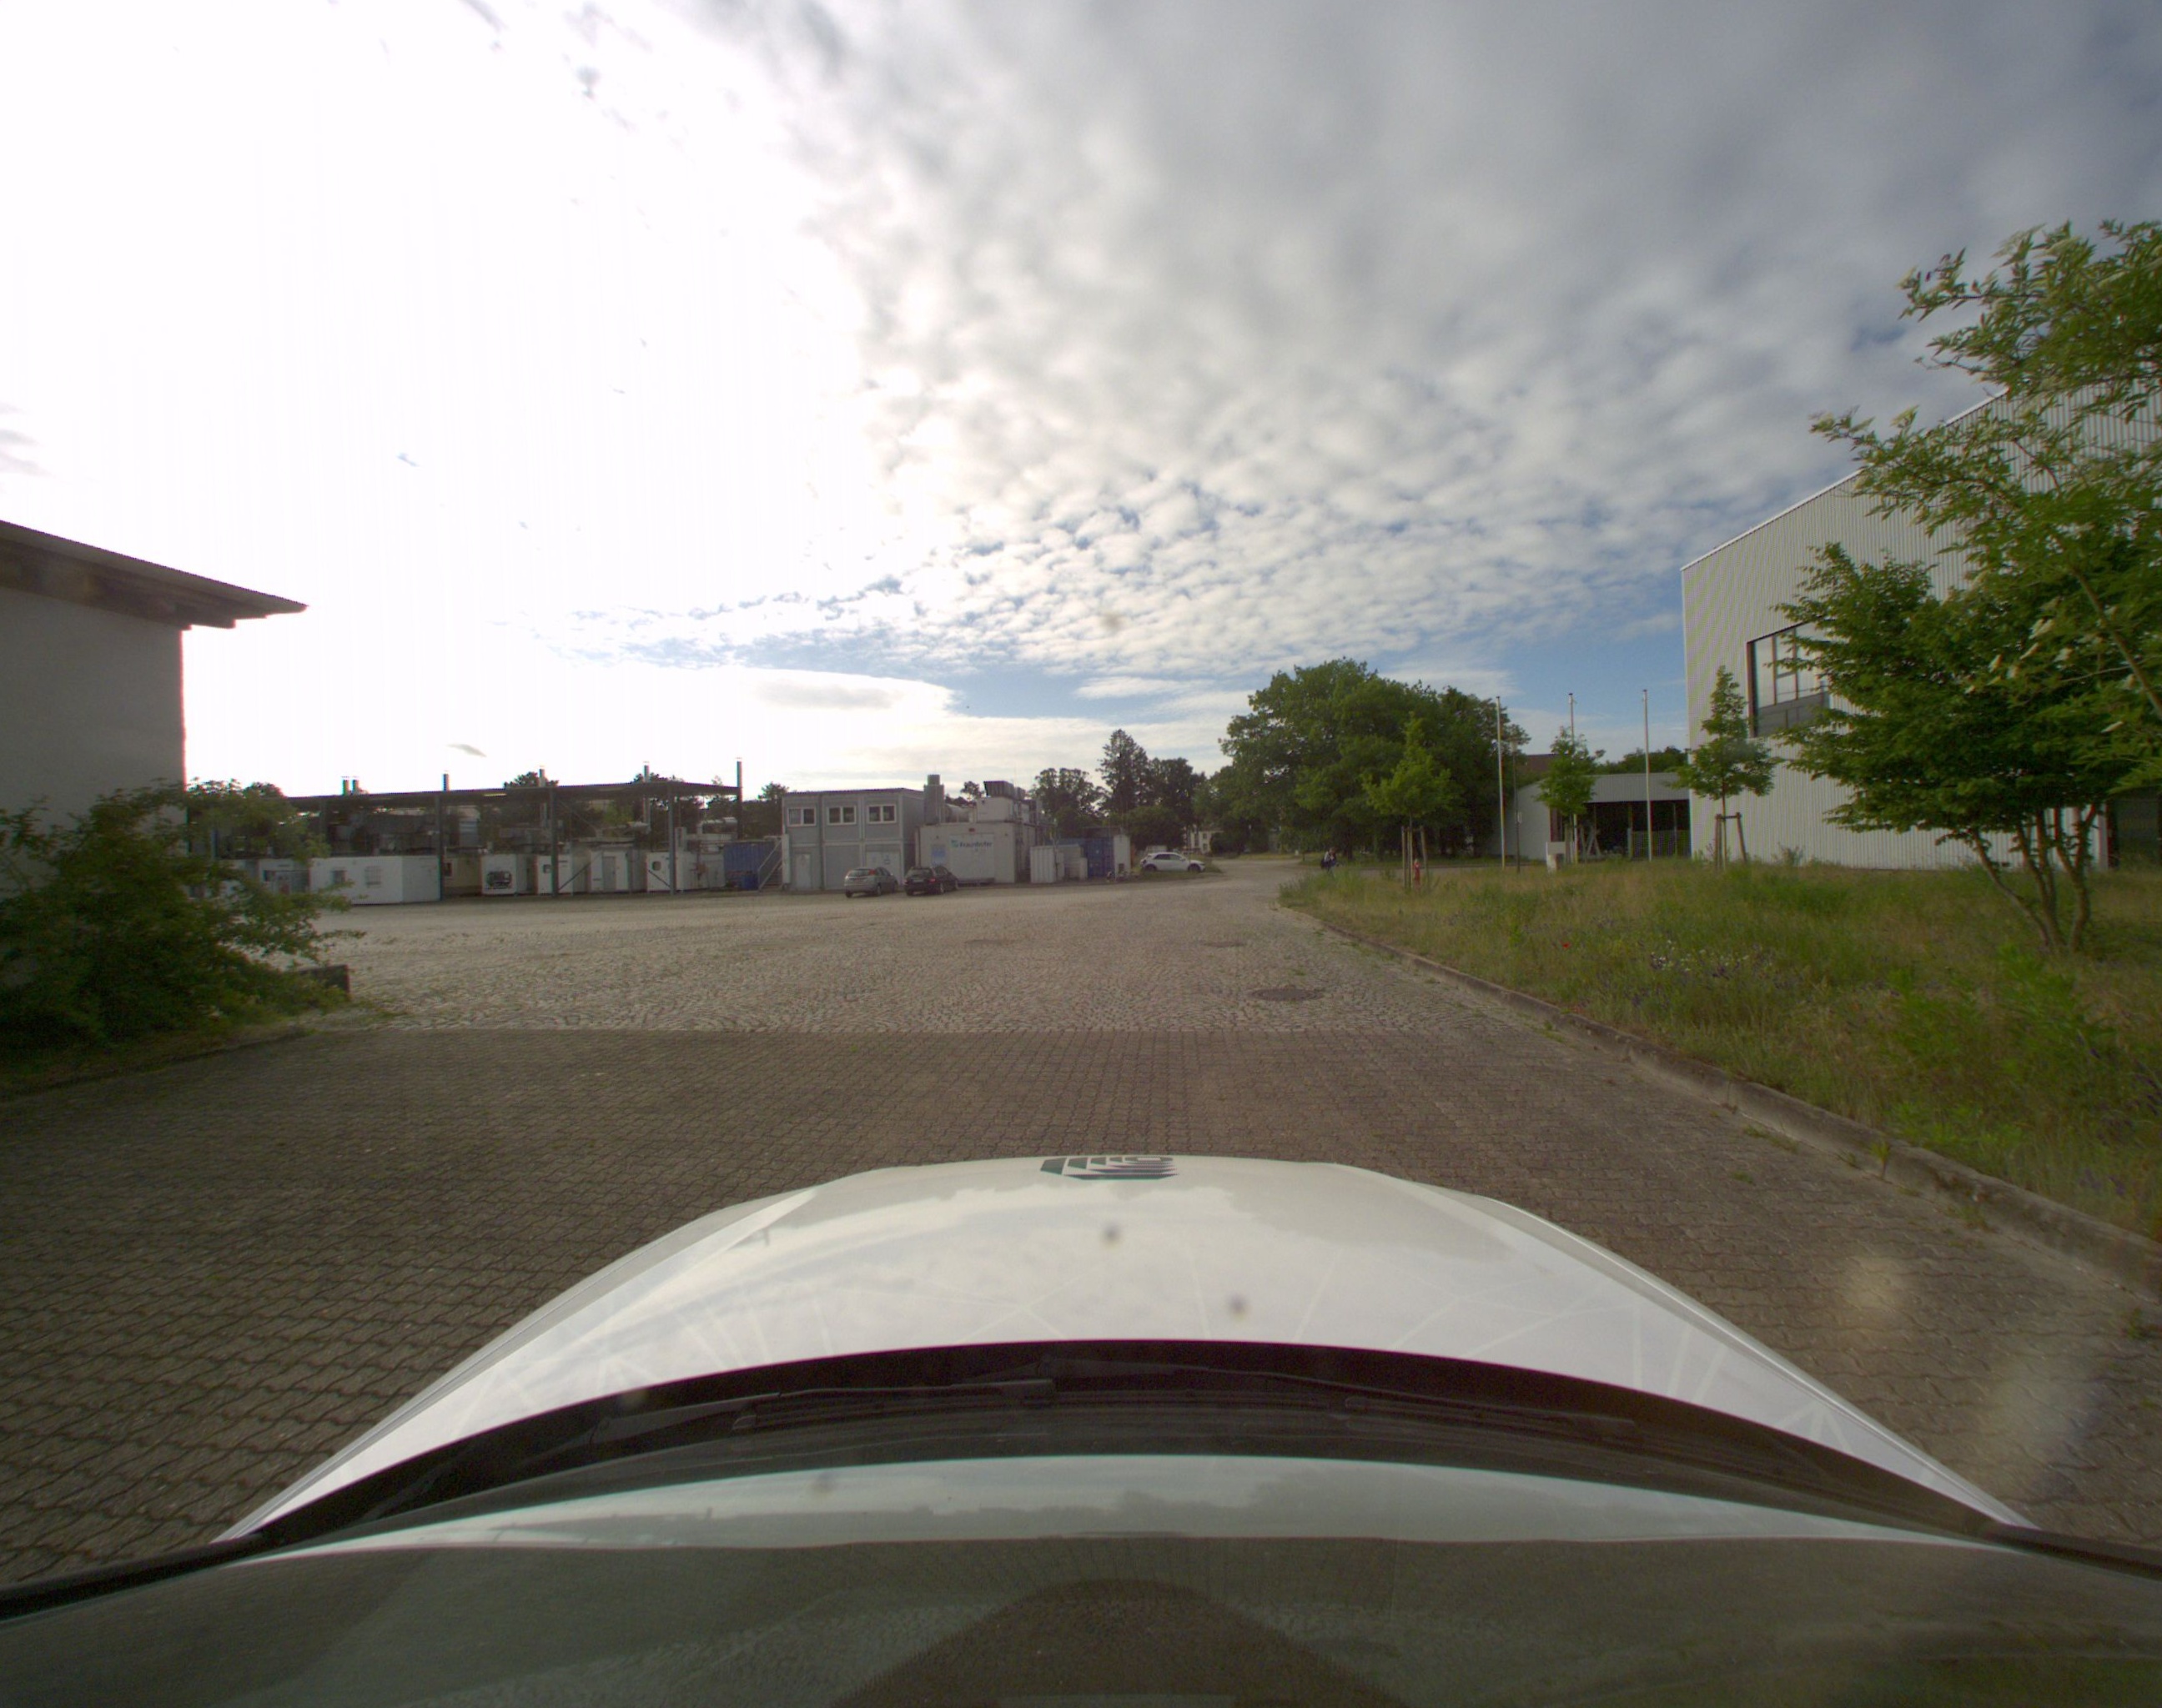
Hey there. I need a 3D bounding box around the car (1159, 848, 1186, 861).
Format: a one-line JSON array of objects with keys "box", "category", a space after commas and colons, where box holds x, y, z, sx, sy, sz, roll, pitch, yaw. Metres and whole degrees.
[{"box": [17.835, 0.061, 158.401, 5.144, 2.337, 2.003, -2, -1, 5], "category": "car"}]

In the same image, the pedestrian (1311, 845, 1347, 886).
[{"box": [9.656, 0.435, 31.660, 1.065, 1.556, 1.082, -2, -1, 30], "category": "pedestrian"}]

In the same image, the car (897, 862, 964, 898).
[{"box": [-7.564, 1.275, 41.369, 2.026, 1.453, 4.538, -2, 1, 6], "category": "car"}]

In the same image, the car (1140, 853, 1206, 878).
[{"box": [6.490, 0.790, 57.257, 4.508, 1.599, 2.005, -2, 0, 8], "category": "car"}]

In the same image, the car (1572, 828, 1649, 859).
[{"box": [36.934, -0.681, 57.016, 2.230, 2.013, 5.344, -2, 0, 5], "category": "car"}]

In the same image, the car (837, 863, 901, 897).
[{"box": [-10.796, 1.295, 41.837, 1.898, 1.476, 4.052, -2, 1, 4], "category": "car"}]
